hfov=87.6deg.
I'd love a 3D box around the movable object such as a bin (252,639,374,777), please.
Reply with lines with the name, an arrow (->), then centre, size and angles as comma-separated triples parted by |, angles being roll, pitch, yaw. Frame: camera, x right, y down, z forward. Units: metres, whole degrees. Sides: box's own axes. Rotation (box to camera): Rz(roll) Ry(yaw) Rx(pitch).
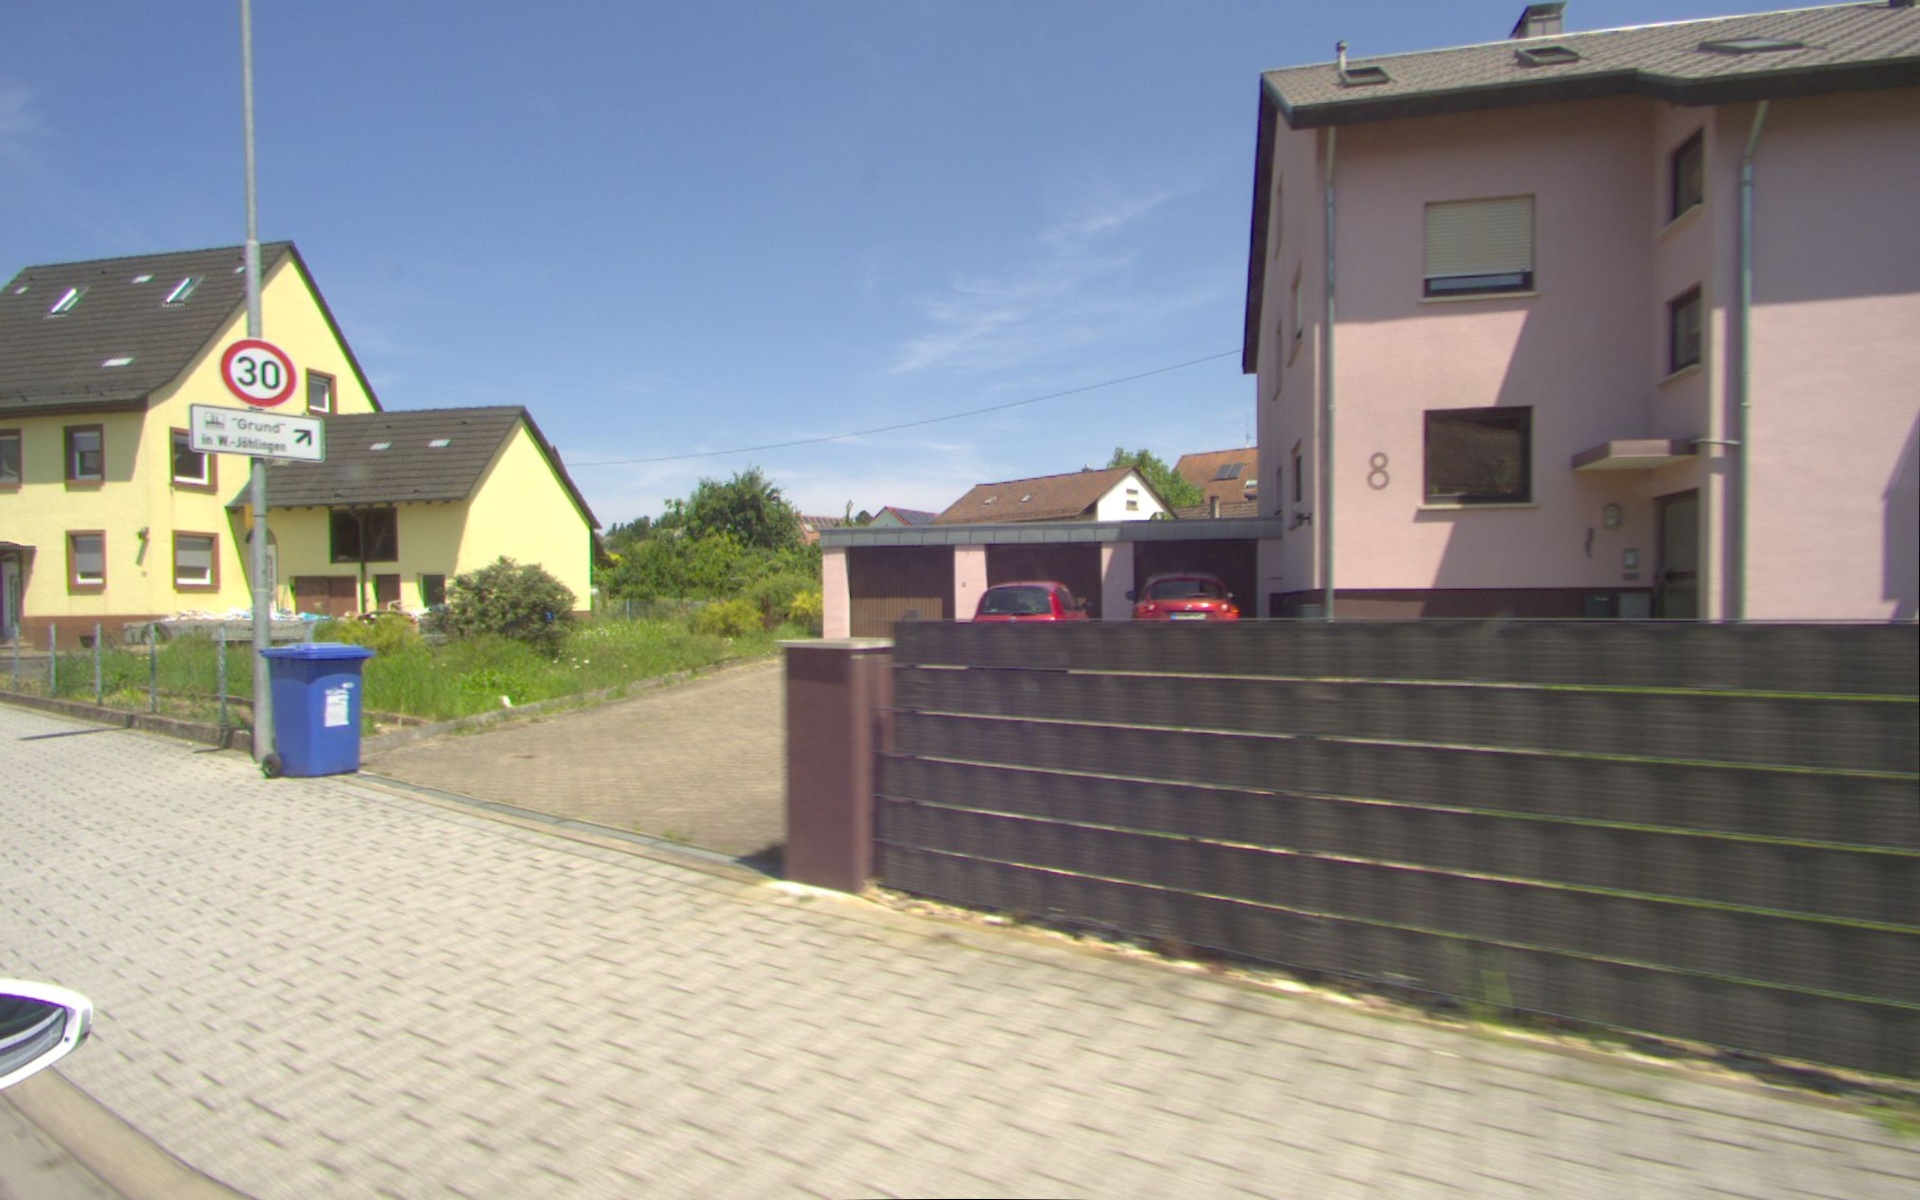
movable object such as a bin -> -5.335, 0.865, 8.268 | 0.640, 1.071, 0.565 | -1, 1, 22

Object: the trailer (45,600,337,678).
trailer -> -17.197, 0.843, 22.868 | 2.097, 1.566, 5.363 | 0, -1, 8

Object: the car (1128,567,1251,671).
car -> 3.824, 0.326, 17.219 | 1.816, 1.568, 4.124 | 0, -1, 10

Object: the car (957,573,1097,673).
car -> 1.261, 0.319, 17.075 | 1.729, 1.506, 3.832 | -1, 1, 14
